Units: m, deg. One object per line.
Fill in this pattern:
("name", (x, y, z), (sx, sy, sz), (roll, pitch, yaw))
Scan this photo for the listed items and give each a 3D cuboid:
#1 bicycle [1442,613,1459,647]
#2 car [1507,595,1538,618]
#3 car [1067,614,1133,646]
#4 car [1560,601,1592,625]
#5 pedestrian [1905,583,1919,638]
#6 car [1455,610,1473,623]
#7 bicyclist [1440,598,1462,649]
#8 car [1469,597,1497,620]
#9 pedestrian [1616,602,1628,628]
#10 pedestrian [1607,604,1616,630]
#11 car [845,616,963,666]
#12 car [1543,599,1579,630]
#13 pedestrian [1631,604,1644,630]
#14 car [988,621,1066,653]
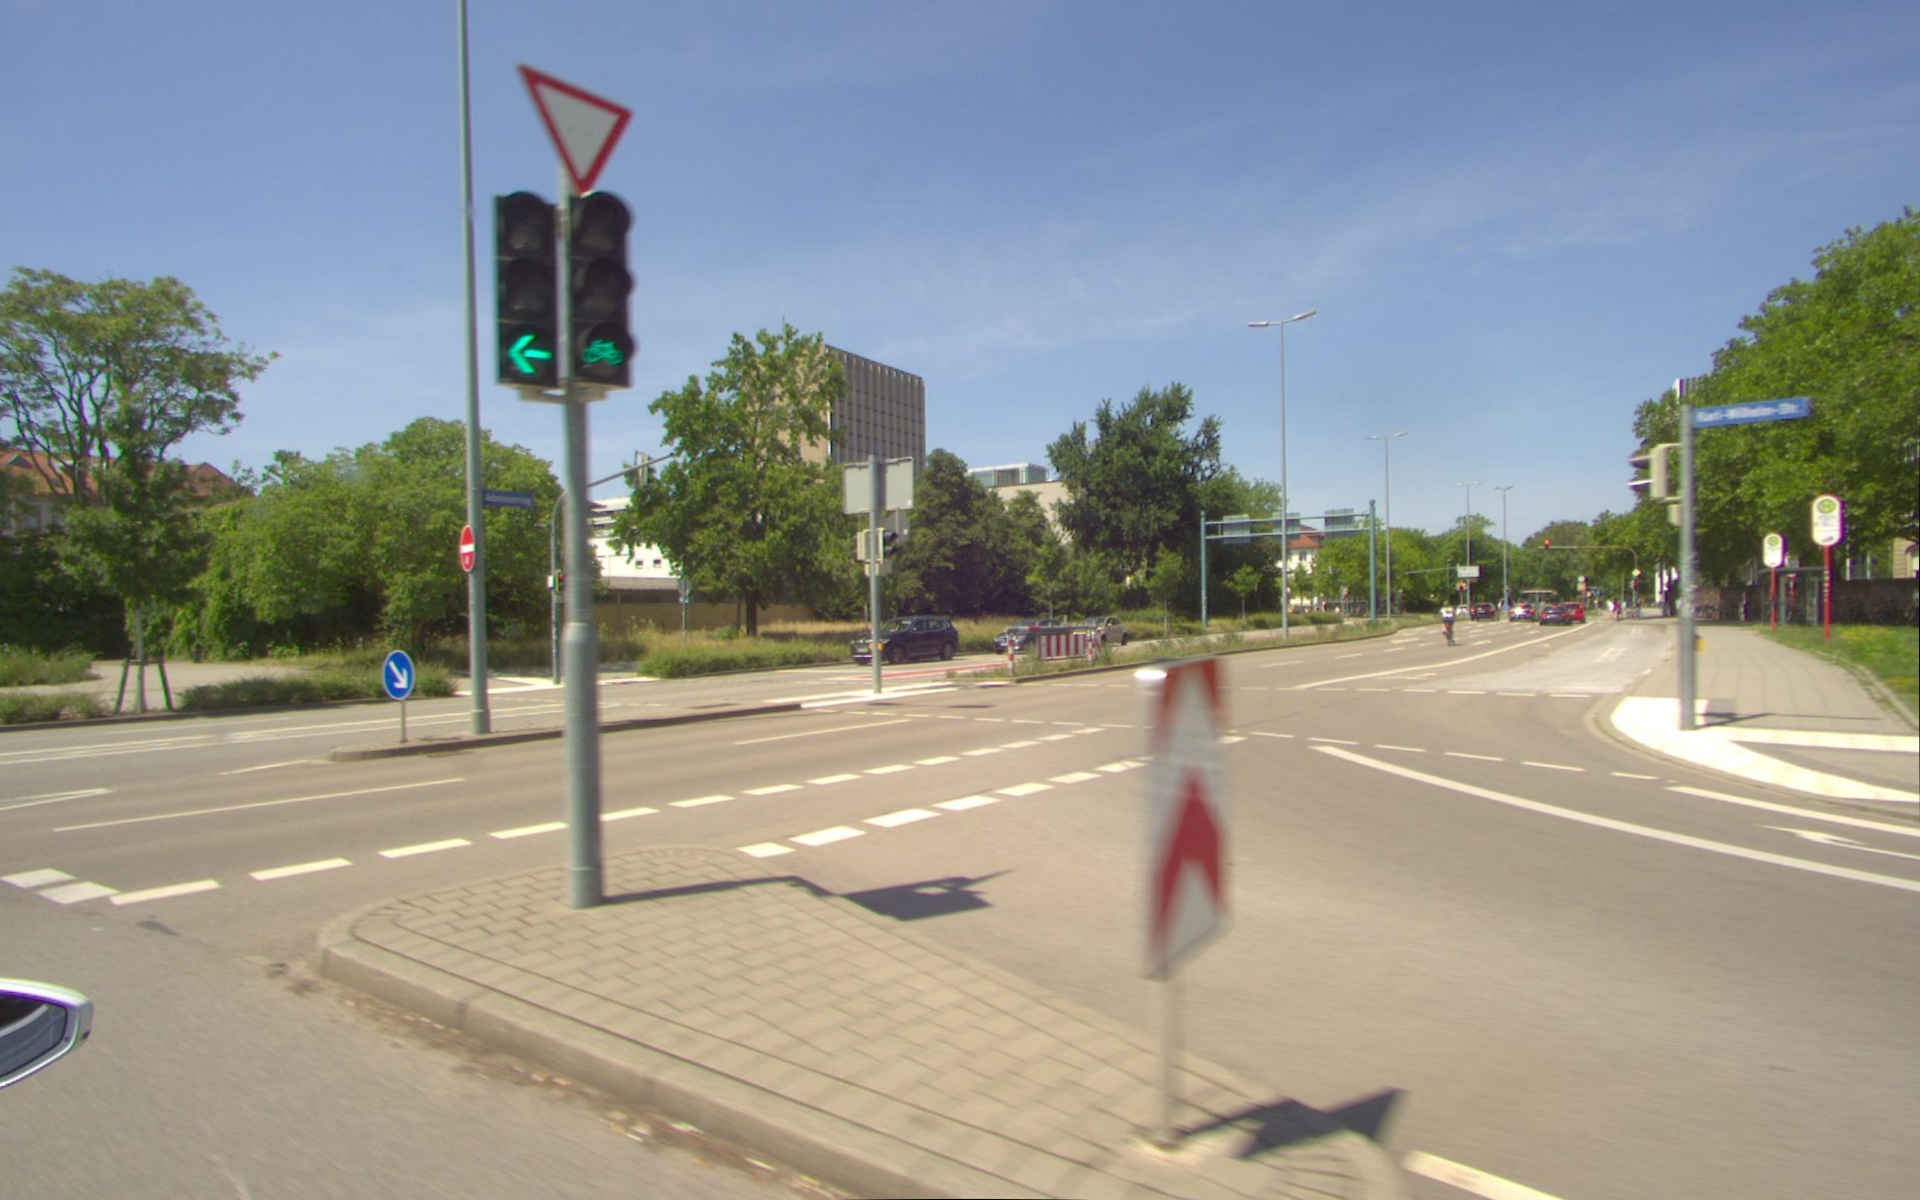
("bicycle", (18.820, 1.160, 38.446), (0.512, 1.252, 2.186), (0, -2, 24))
("car", (44.665, 0.540, 79.466), (1.758, 1.705, 3.976), (-1, -2, 36))
("car", (6.877, 1.487, 48.954), (1.734, 1.457, 3.981), (-1, -2, 32))
("car", (46.503, 1.036, 75.535), (1.758, 1.705, 3.976), (-1, -2, 36))
("pedestrian", (41.673, 0.458, 43.212), (0.833, 2.320, 1.075), (0, -1, 14))
("car", (67.079, 2.186, 133.199), (1.713, 1.707, 3.895), (-1, -2, 33))
("bicyclist", (18.848, 0.921, 38.418), (0.697, 1.911, 1.136), (0, -2, 24))
("car", (42.334, 0.703, 81.002), (1.753, 1.689, 3.982), (-1, -2, 31))
("pedestrian", (52.423, 1.188, 79.296), (0.778, 2.039, 0.959), (-1, -2, 33))
("pedestrian", (51.544, 1.325, 79.245), (0.542, 2.039, 0.533), (-1, -2, 34))
("car", (-1.938, 1.430, 36.184), (1.688, 1.607, 4.522), (-1, 0, 38))
("car", (42.446, 1.071, 70.721), (1.972, 2.039, 4.192), (-1, -2, 34))
("pedestrian", (53.323, 1.316, 78.807), (0.778, 2.039, 0.836), (-1, -2, 33))
("car", (2.935, 1.605, 43.304), (1.734, 1.326, 3.981), (-1, -2, 32))
